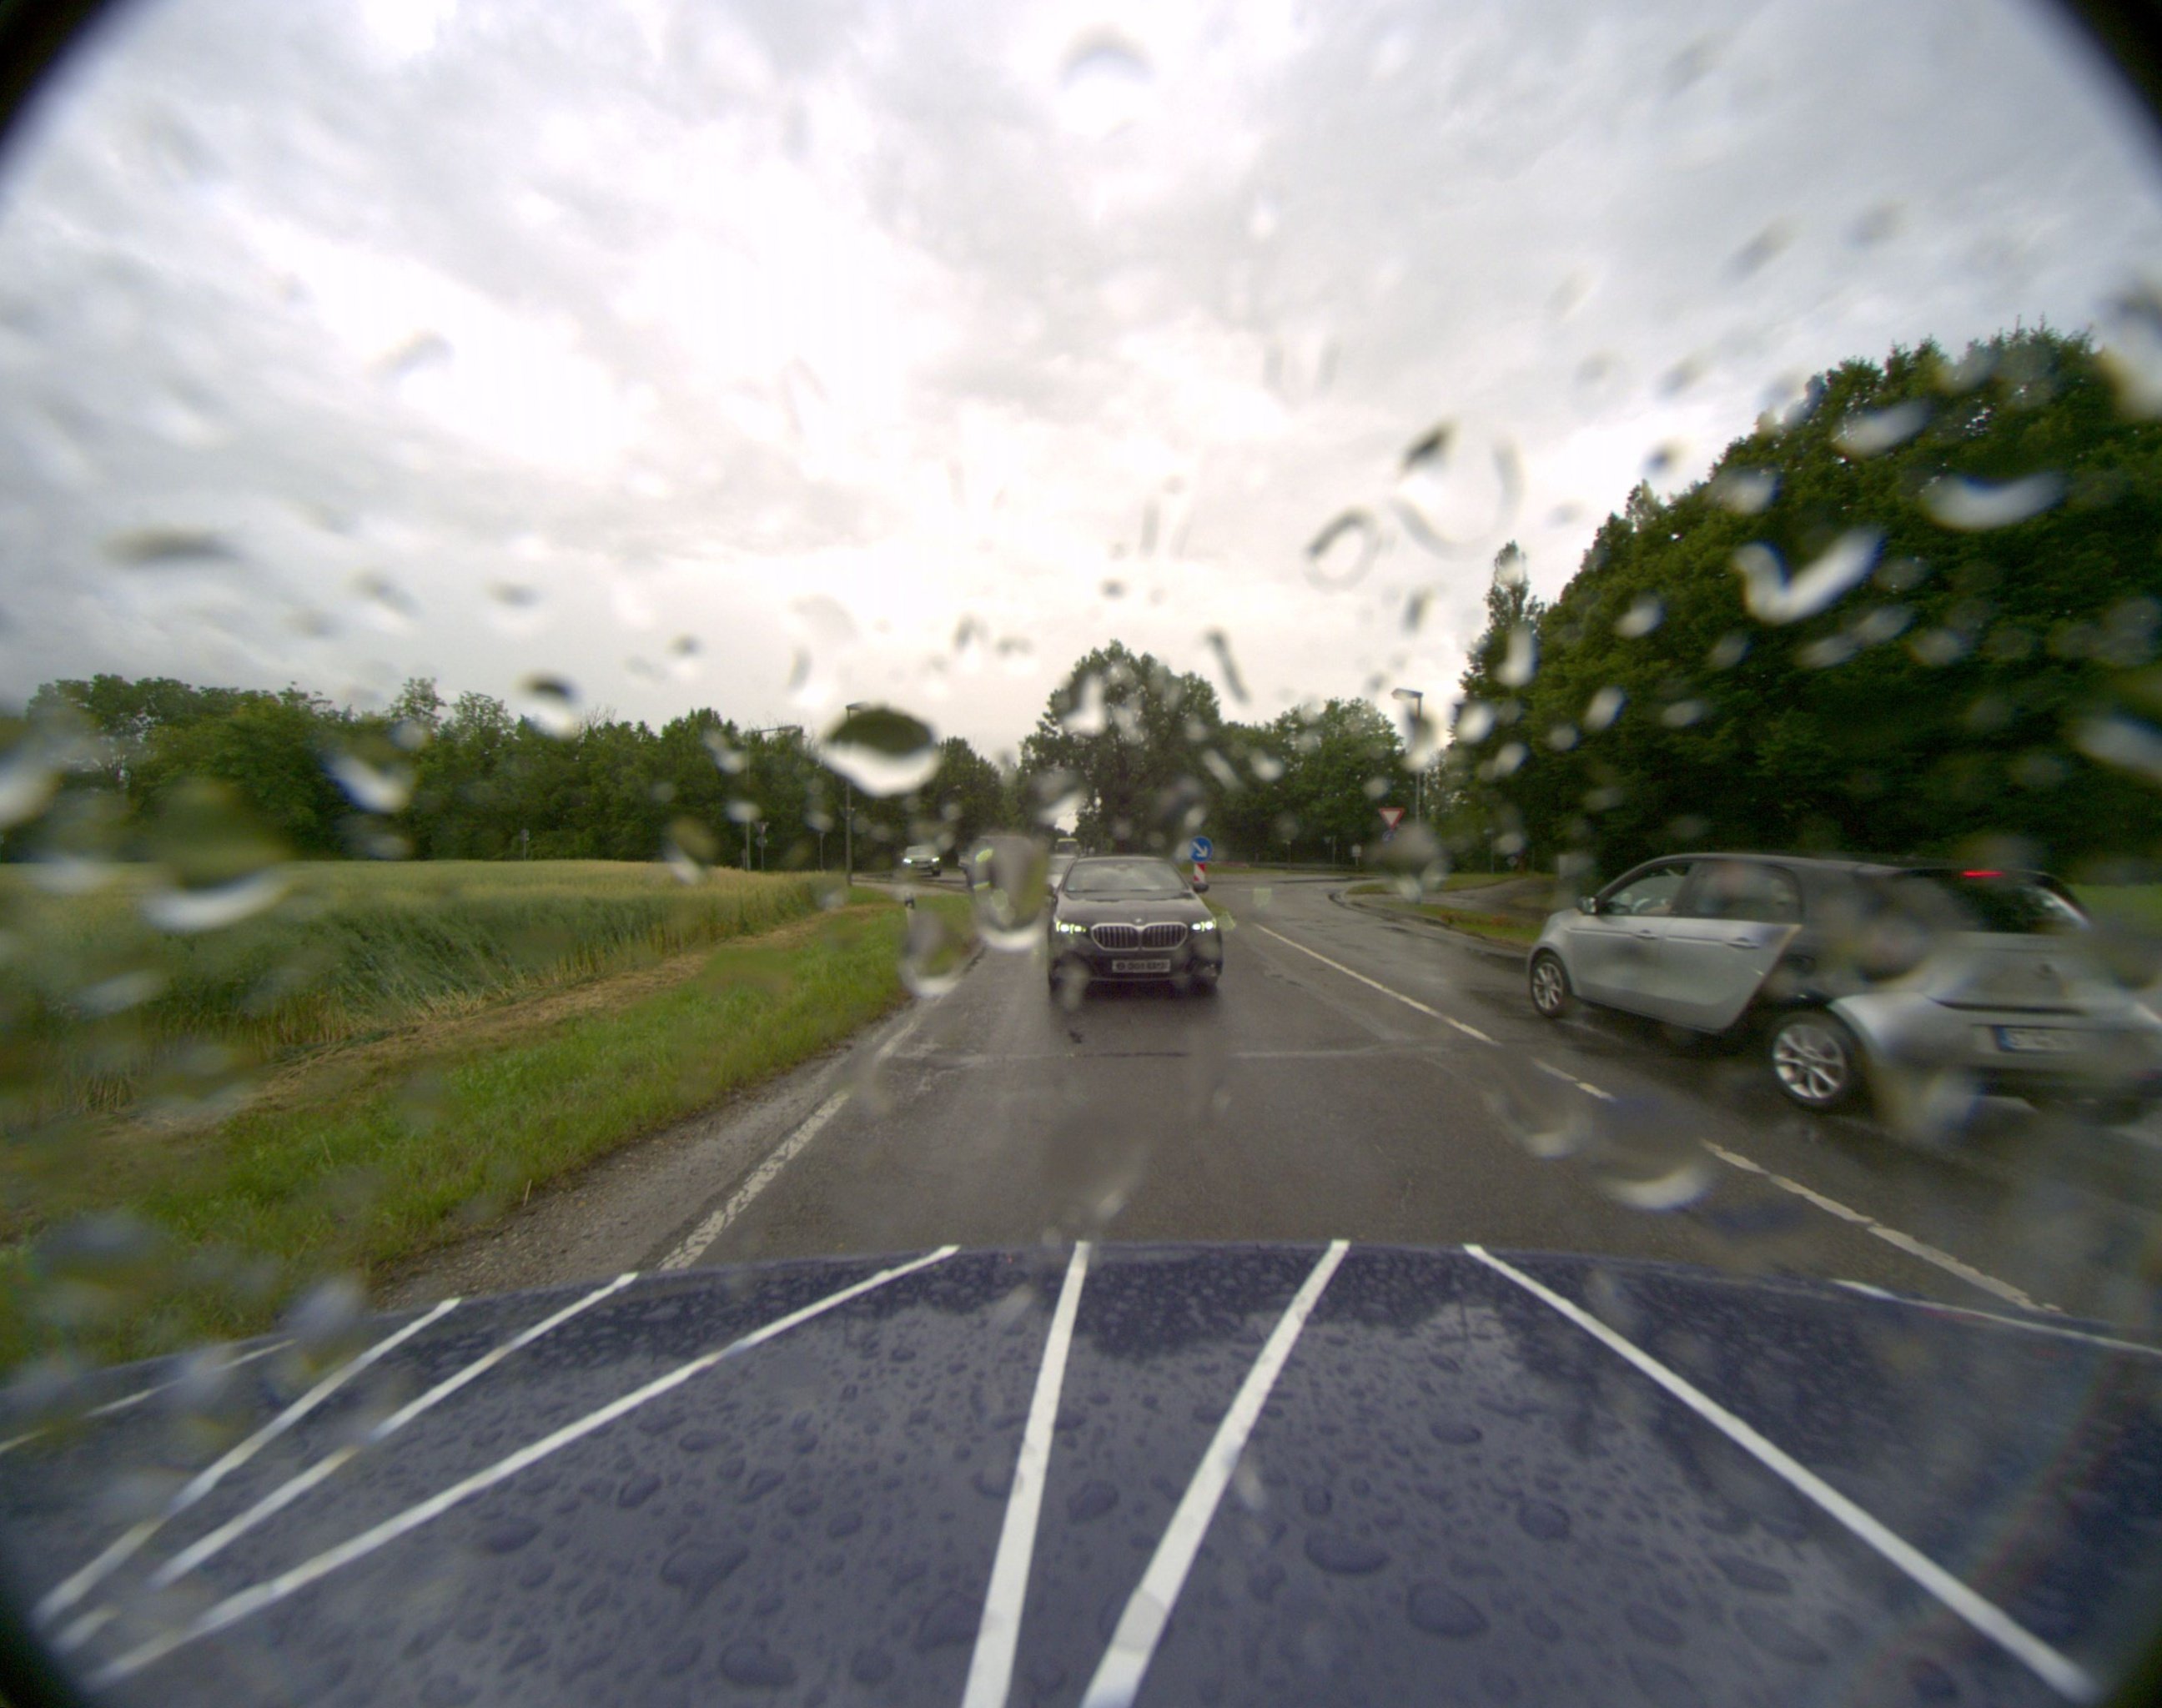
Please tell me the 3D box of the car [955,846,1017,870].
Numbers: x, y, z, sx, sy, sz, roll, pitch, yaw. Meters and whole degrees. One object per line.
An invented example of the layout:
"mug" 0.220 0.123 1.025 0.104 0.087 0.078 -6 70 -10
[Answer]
"car" -6.640 0.259 53.667 1.888 1.522 4.510 -1 1 32

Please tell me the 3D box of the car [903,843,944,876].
"car" -8.023 0.252 38.798 1.893 1.522 5.250 -2 1 -11

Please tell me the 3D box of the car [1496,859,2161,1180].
"car" 4.944 0.837 5.609 1.680 1.490 3.734 2 1 0

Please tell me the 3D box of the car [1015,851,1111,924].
"car" -0.558 0.724 18.651 1.893 1.482 4.188 -1 1 -7

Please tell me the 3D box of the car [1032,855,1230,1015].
"car" 0.471 0.793 9.427 1.892 1.484 4.035 -1 1 -1

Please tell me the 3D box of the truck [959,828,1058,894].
"truck" -2.806 0.173 27.871 2.079 2.050 5.758 -3 2 -21

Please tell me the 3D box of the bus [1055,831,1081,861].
"bus" -1.545 -1.038 99.934 2.996 3.665 14.293 0 1 1
